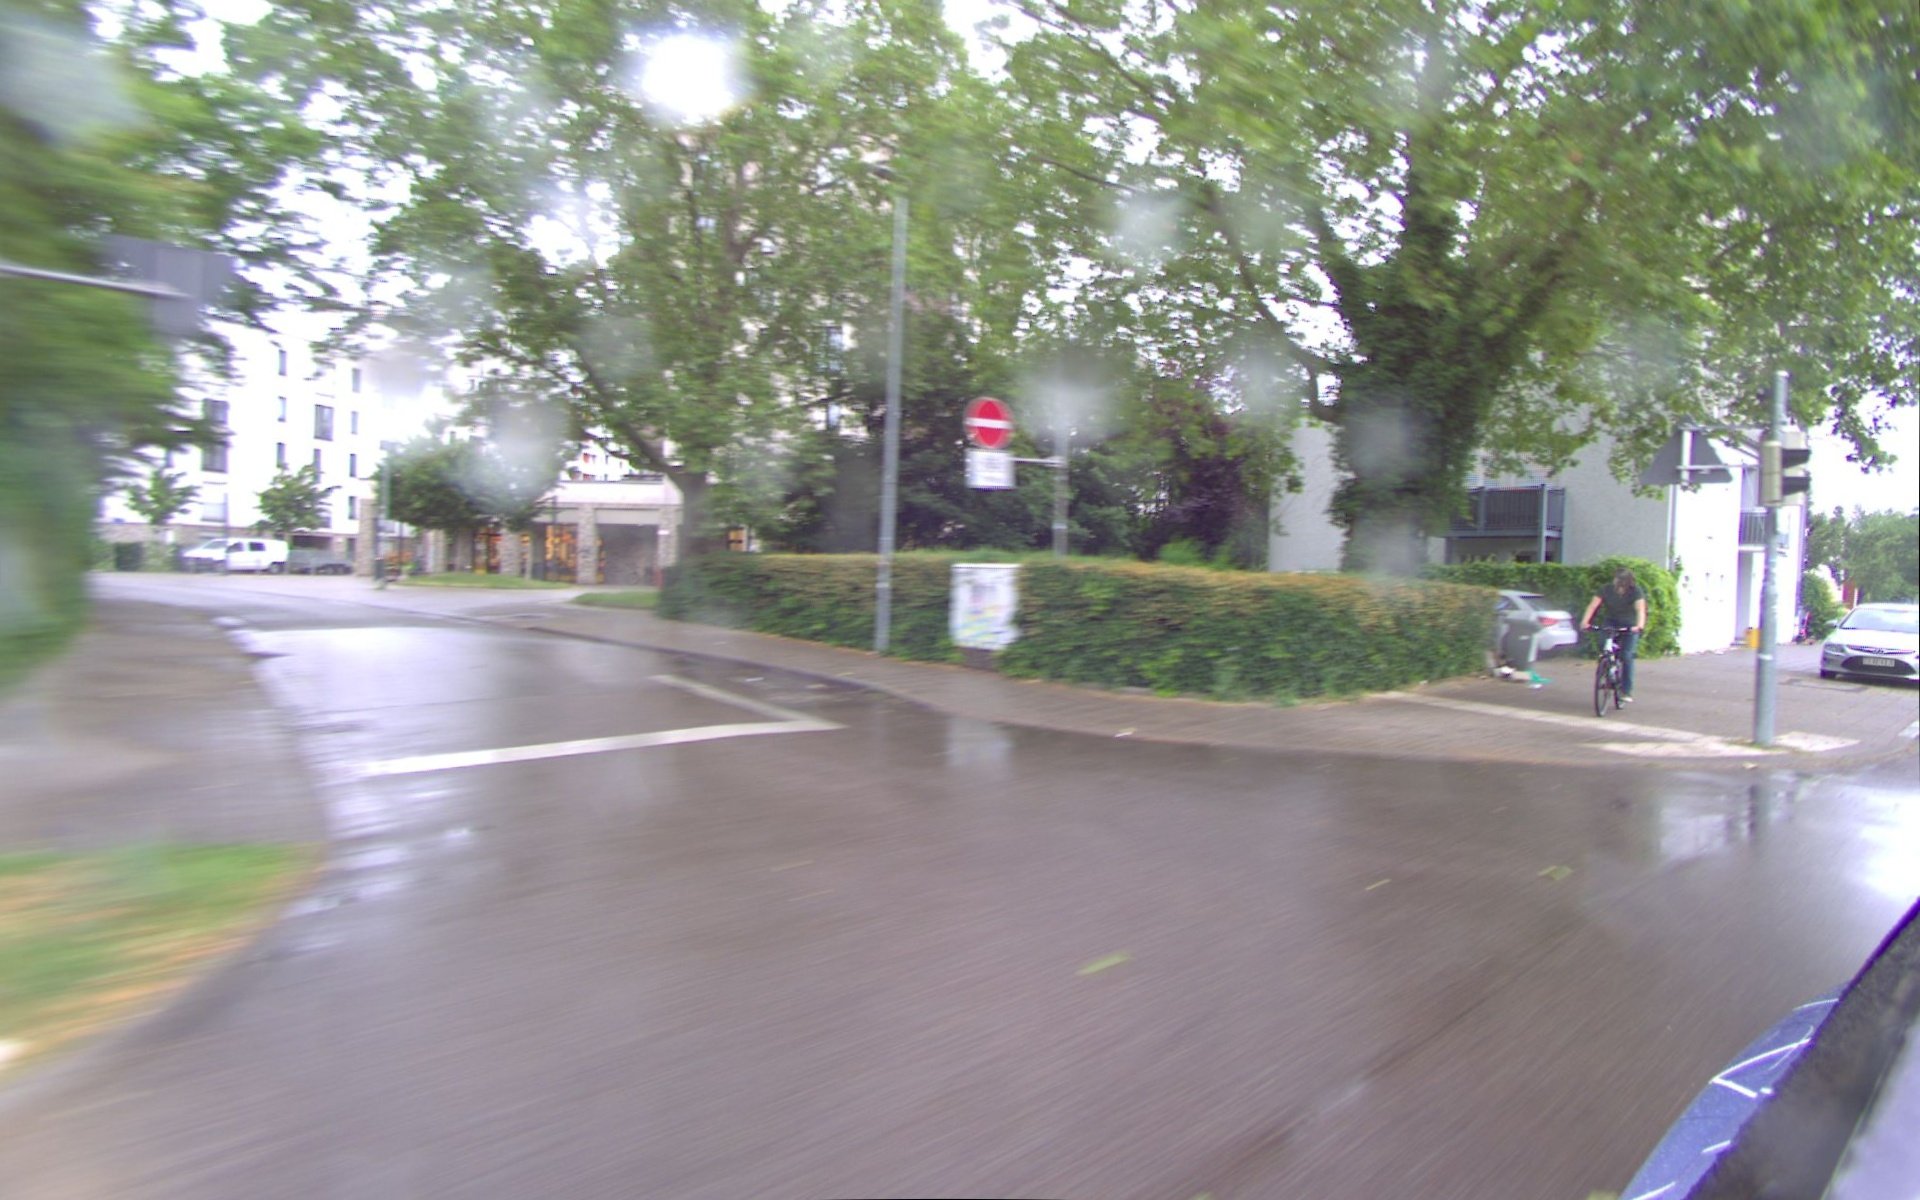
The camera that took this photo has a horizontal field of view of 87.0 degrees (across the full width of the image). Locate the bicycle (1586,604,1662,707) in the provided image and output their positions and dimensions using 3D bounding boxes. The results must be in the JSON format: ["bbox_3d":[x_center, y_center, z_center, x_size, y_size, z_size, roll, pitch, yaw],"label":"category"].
[{"bbox_3d":[8.088,0.626,12.289,0.535,1.106,1.920,1,1,40],"label":"bicycle"}]

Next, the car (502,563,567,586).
[{"bbox_3d":[-33.380,-2.019,79.534,2.220,1.723,5.121,0,1,12],"label":"car"}]

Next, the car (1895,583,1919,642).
[{"bbox_3d":[25.730,0.356,26.190,3.729,1.422,1.811,-1,6,-42],"label":"car"}]

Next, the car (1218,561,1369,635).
[{"bbox_3d":[8.878,-0.102,26.816,4.175,1.816,1.997,-1,2,-41],"label":"car"}]

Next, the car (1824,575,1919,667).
[{"bbox_3d":[17.729,0.345,18.935,3.729,1.485,1.811,-1,6,-42],"label":"car"}]

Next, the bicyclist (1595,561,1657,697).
[{"bbox_3d":[8.070,0.325,12.257,0.533,1.579,0.761,1,1,40],"label":"bicyclist"}]

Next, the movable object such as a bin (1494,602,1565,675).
[{"bbox_3d":[8.854,0.577,15.738,0.810,1.034,0.694,-1,4,-43],"label":"movable object such as a bin"}]

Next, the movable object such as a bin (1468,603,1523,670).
[{"bbox_3d":[8.821,0.588,16.660,0.726,1.034,0.537,0,4,-43],"label":"movable object such as a bin"}]

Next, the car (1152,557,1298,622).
[{"bbox_3d":[7.463,-0.320,28.365,4.175,1.675,1.997,-1,2,-41],"label":"car"}]

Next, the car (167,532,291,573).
[{"bbox_3d":[-38.859,-2.465,53.994,2.224,2.039,5.113,0,1,16],"label":"car"}]

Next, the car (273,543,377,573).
[{"bbox_3d":[-37.589,-2.452,60.079,2.224,1.723,5.113,0,1,16],"label":"car"}]

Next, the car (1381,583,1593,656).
[{"bbox_3d":[11.276,0.353,21.836,1.729,1.394,3.704,-1,2,-39],"label":"car"}]
